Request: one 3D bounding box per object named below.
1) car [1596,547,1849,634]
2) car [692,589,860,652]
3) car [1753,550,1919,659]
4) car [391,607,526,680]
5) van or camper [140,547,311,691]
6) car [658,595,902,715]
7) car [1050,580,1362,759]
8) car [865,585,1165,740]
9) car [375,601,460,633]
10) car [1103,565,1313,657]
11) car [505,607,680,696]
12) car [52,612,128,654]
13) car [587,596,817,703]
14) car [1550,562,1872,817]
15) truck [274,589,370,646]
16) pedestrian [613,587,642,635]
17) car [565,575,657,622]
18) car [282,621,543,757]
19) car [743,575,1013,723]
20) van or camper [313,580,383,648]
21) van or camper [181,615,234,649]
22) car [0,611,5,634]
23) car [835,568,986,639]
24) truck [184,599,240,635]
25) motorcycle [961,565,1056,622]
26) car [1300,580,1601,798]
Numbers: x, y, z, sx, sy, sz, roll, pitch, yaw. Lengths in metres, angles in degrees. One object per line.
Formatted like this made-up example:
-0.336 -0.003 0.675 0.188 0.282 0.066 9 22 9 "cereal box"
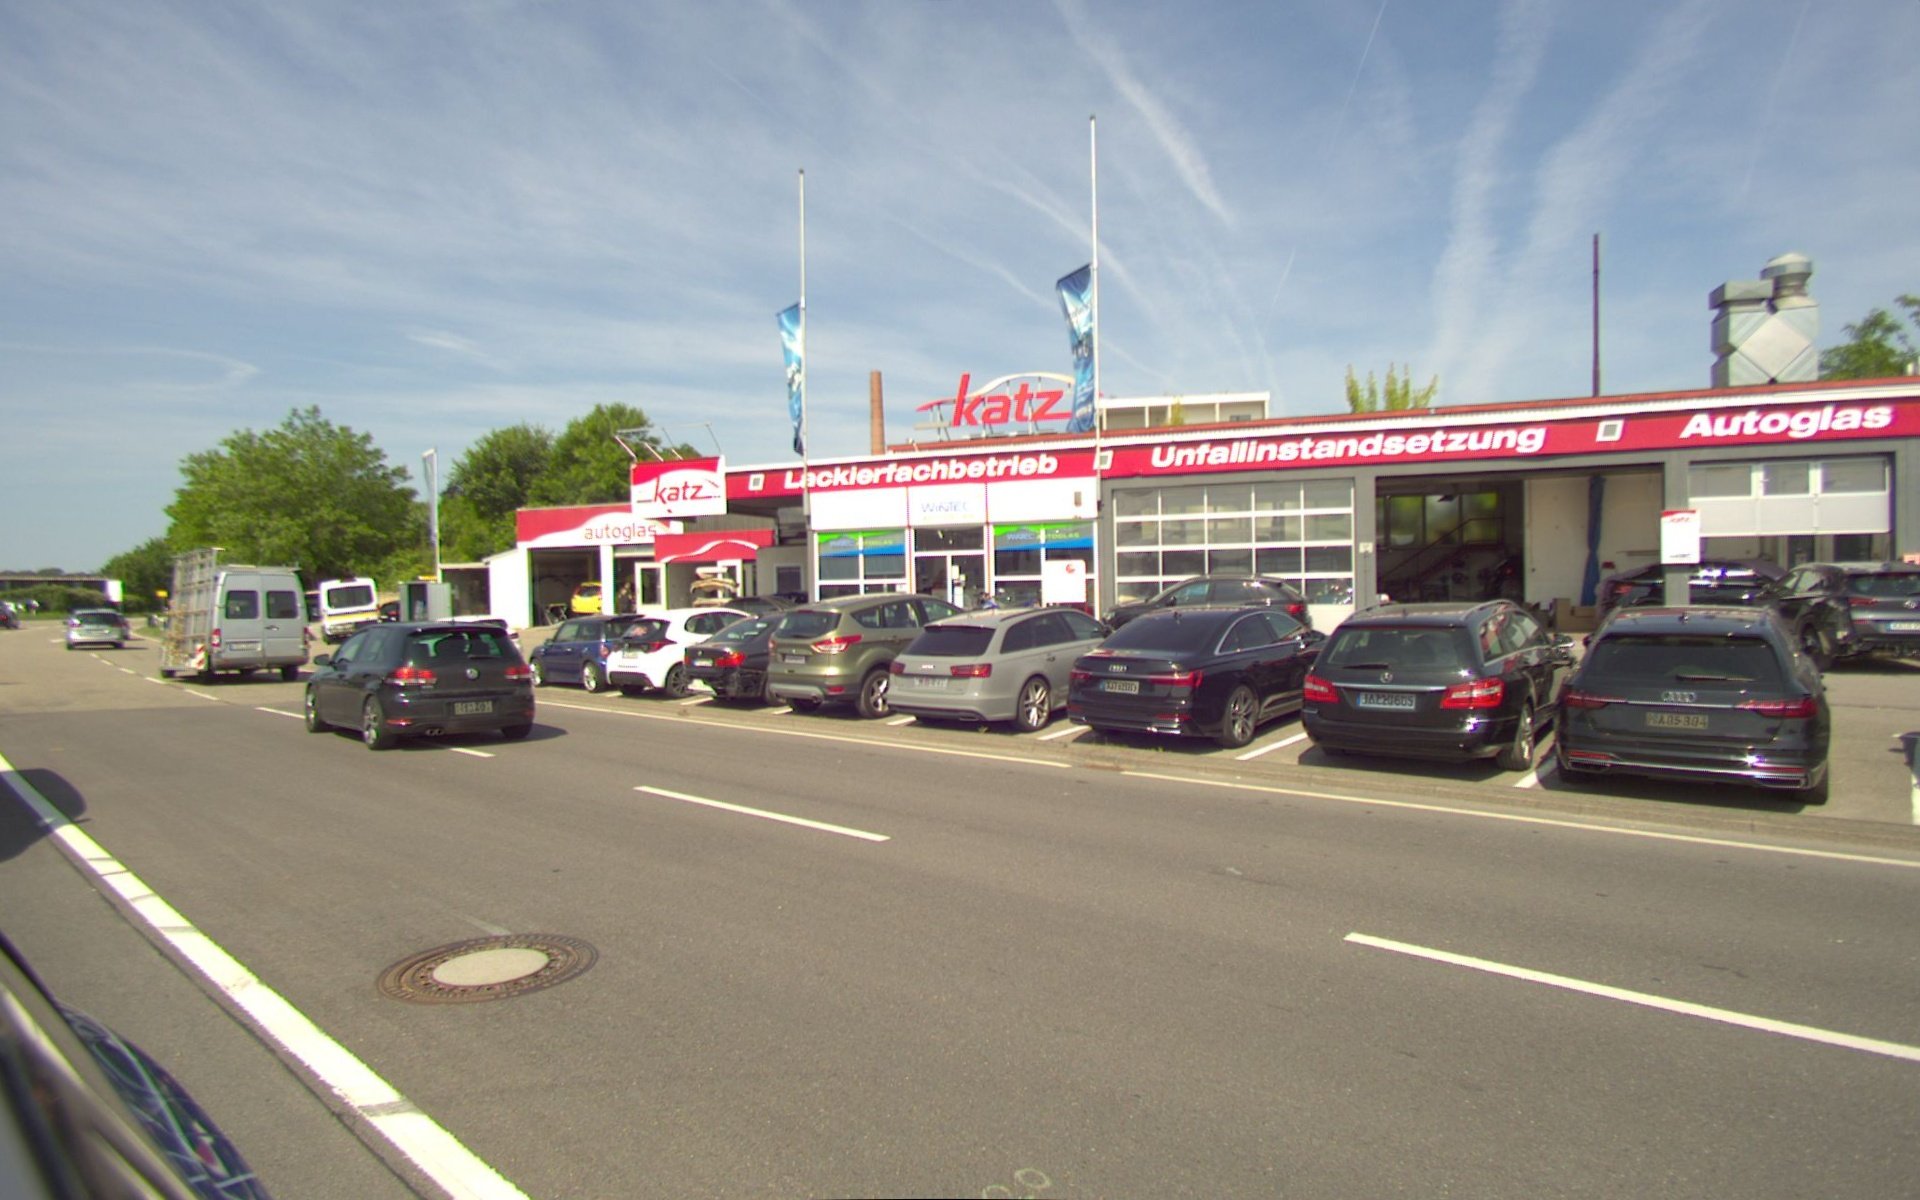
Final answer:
15.814 -0.161 21.292 3.998 1.685 1.893 -1 -1 30 "car"
-5.269 0.585 29.094 4.362 1.516 1.848 -3 2 20 "car"
14.370 0.075 16.075 1.757 1.544 3.921 -1 -1 22 "car"
-12.597 1.024 25.334 4.001 1.630 1.759 -1 0 44 "car"
-17.879 0.460 24.498 5.901 3.079 2.183 -1 -1 42 "van or camper"
-2.909 0.819 16.909 1.790 1.536 3.672 -1 3 39 "car"
3.081 0.659 12.004 1.797 1.495 4.255 -1 3 41 "car"
0.903 0.689 13.611 1.834 1.495 4.236 -1 3 39 "car"
-27.755 0.849 51.856 1.726 1.541 3.648 -1 0 19 "car"
5.161 0.176 21.189 4.091 1.686 1.819 0 5 17 "car"
-7.536 0.964 20.606 3.782 1.505 1.760 -1 4 44 "car"
-36.494 1.366 42.422 4.180 1.675 1.889 -1 -2 43 "car"
-4.725 0.833 18.941 1.845 1.536 3.759 -1 3 39 "car"
6.417 0.542 8.618 1.800 1.495 3.807 -1 3 39 "car"
-30.784 0.789 48.621 2.303 2.313 8.814 -7 4 -42 "truck"
-12.662 0.407 38.543 0.714 1.775 0.895 -1 1 -45 "pedestrian"
-14.673 -0.110 42.702 1.726 1.738 3.648 -1 3 20 "car"
-6.886 0.979 12.559 3.926 1.420 1.648 -1 -2 43 "car"
-1.117 0.612 15.262 1.806 1.729 3.847 -1 3 41 "car"
-25.754 0.539 42.467 2.125 2.517 5.966 -5 2 -33 "van or camper"
-37.467 1.547 50.349 1.620 1.536 4.472 -2 1 -43 "van or camper"
-66.560 1.555 69.201 1.785 1.571 4.391 0 -1 -43 "car"
-1.326 0.094 27.530 3.729 1.772 1.696 -1 3 17 "car"
-90.505 2.107 122.617 2.914 4.241 10.681 1 -2 -23 "truck"
1.116 -0.135 23.331 2.040 1.271 0.767 0 -1 22 "motorcycle"
5.191 0.691 10.357 1.770 1.495 4.416 -1 3 39 "car"
